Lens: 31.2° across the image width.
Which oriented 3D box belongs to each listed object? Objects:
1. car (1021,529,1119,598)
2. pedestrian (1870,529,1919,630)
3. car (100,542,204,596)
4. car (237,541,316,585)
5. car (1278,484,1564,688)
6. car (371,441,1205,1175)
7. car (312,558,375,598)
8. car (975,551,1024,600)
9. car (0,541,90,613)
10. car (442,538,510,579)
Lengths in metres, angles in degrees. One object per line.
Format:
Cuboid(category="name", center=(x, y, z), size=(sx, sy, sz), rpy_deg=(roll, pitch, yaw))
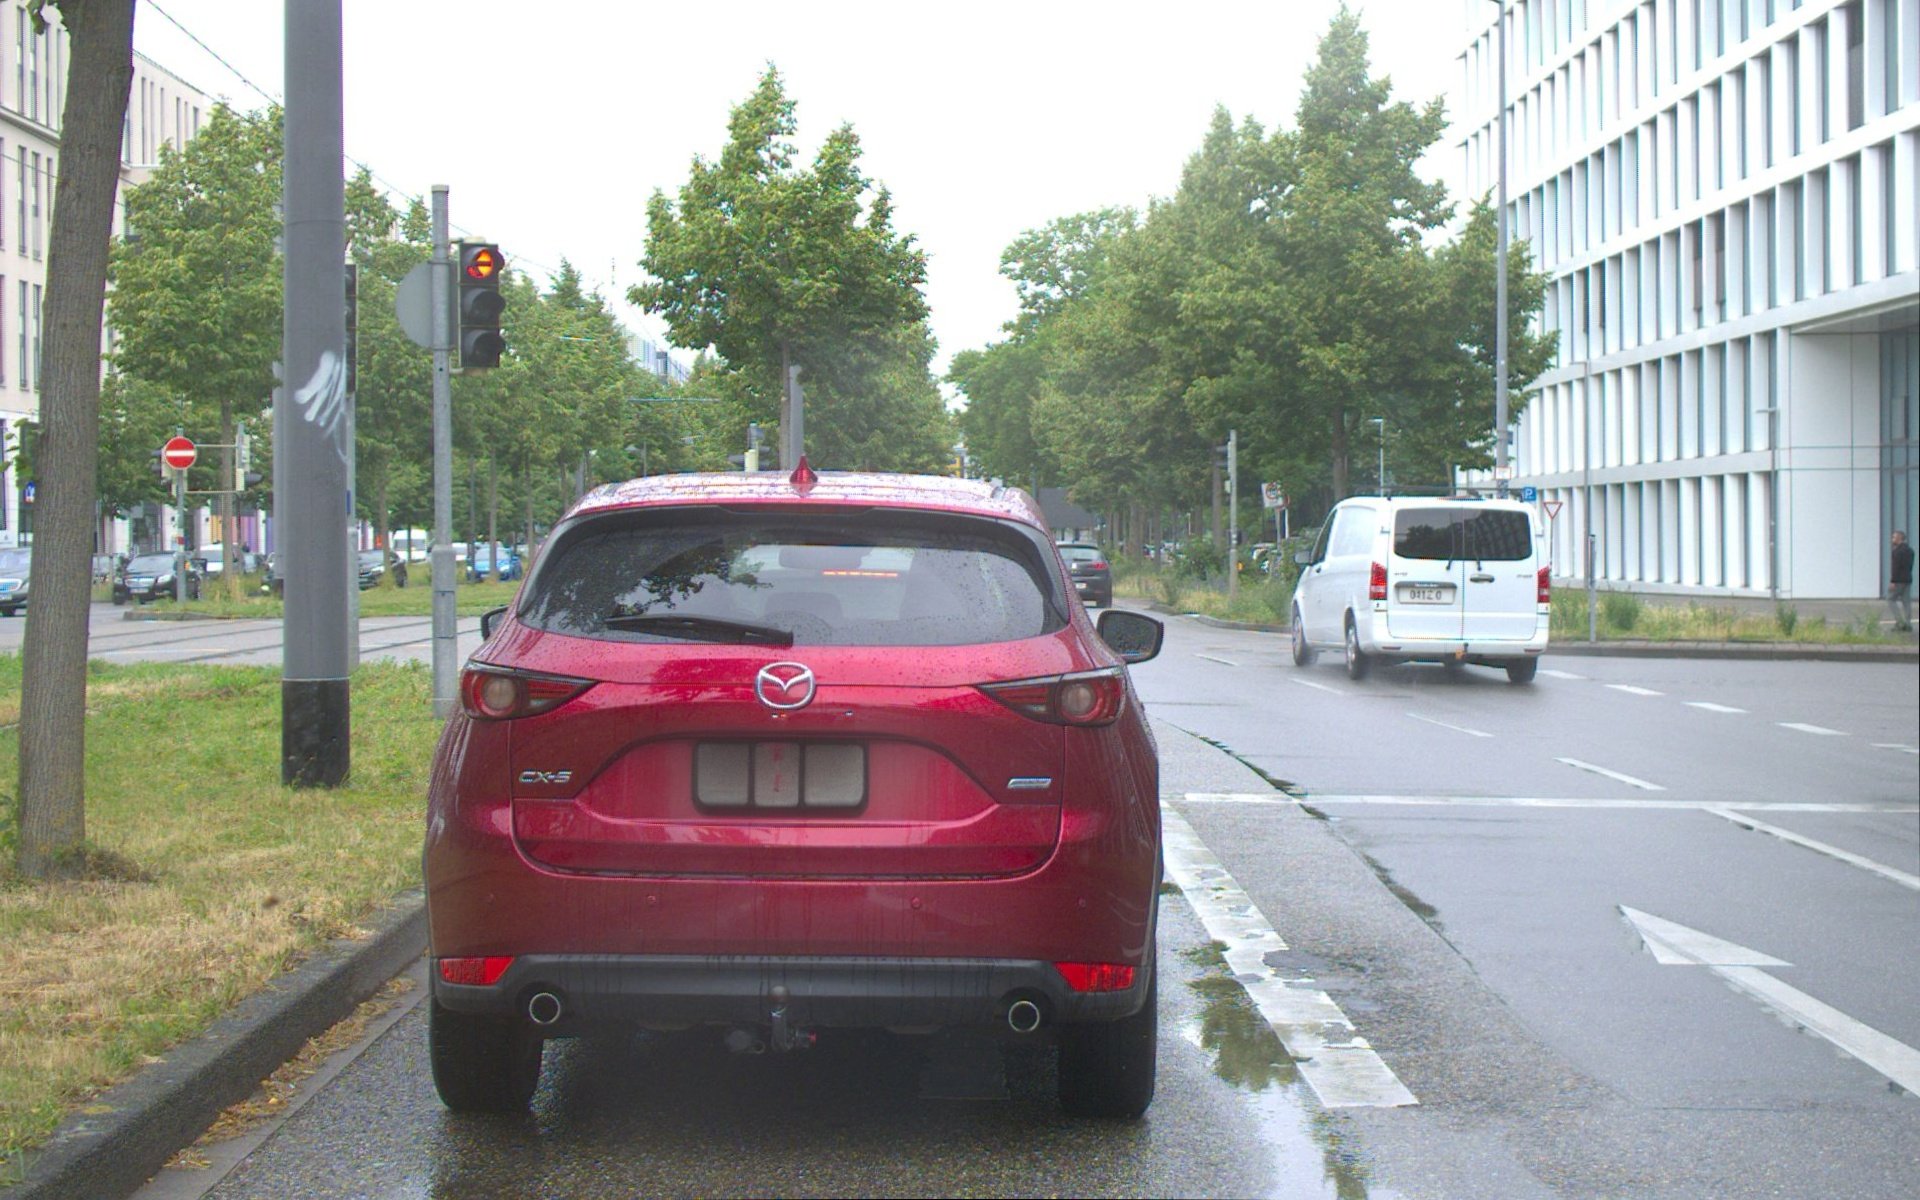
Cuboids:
Cuboid(category="car", center=(2.401, -0.827, 76.059), size=(1.743, 1.460, 3.782), rpy_deg=(0, 1, -5))
Cuboid(category="pedestrian", center=(15.977, -0.356, 58.539), size=(0.677, 1.701, 0.784), rpy_deg=(0, 1, -5))
Cuboid(category="car", center=(-23.304, -0.906, 99.296), size=(1.993, 1.479, 4.446), rpy_deg=(0, 1, 0))
Cuboid(category="car", center=(-23.786, -1.319, 119.745), size=(1.993, 1.479, 4.446), rpy_deg=(0, 1, -2))
Cuboid(category="car", center=(4.734, -0.164, 36.082), size=(1.967, 1.972, 5.092), rpy_deg=(1, 1, -4))
Cuboid(category="car", center=(-0.420, 0.434, 9.862), size=(1.898, 1.671, 4.000), rpy_deg=(0, 1, -1))
Cuboid(category="car", center=(-23.989, -0.881, 133.865), size=(1.993, 1.479, 4.446), rpy_deg=(0, 1, -5))
Cuboid(category="car", center=(1.670, -1.044, 145.493), size=(1.993, 2.007, 4.000), rpy_deg=(0, 1, 0))
Cuboid(category="car", center=(-20.402, -0.519, 74.603), size=(1.993, 1.479, 4.446), rpy_deg=(0, 1, -1))
Cuboid(category="car", center=(-18.216, -1.575, 129.523), size=(1.993, 1.479, 4.446), rpy_deg=(0, 1, -1))
